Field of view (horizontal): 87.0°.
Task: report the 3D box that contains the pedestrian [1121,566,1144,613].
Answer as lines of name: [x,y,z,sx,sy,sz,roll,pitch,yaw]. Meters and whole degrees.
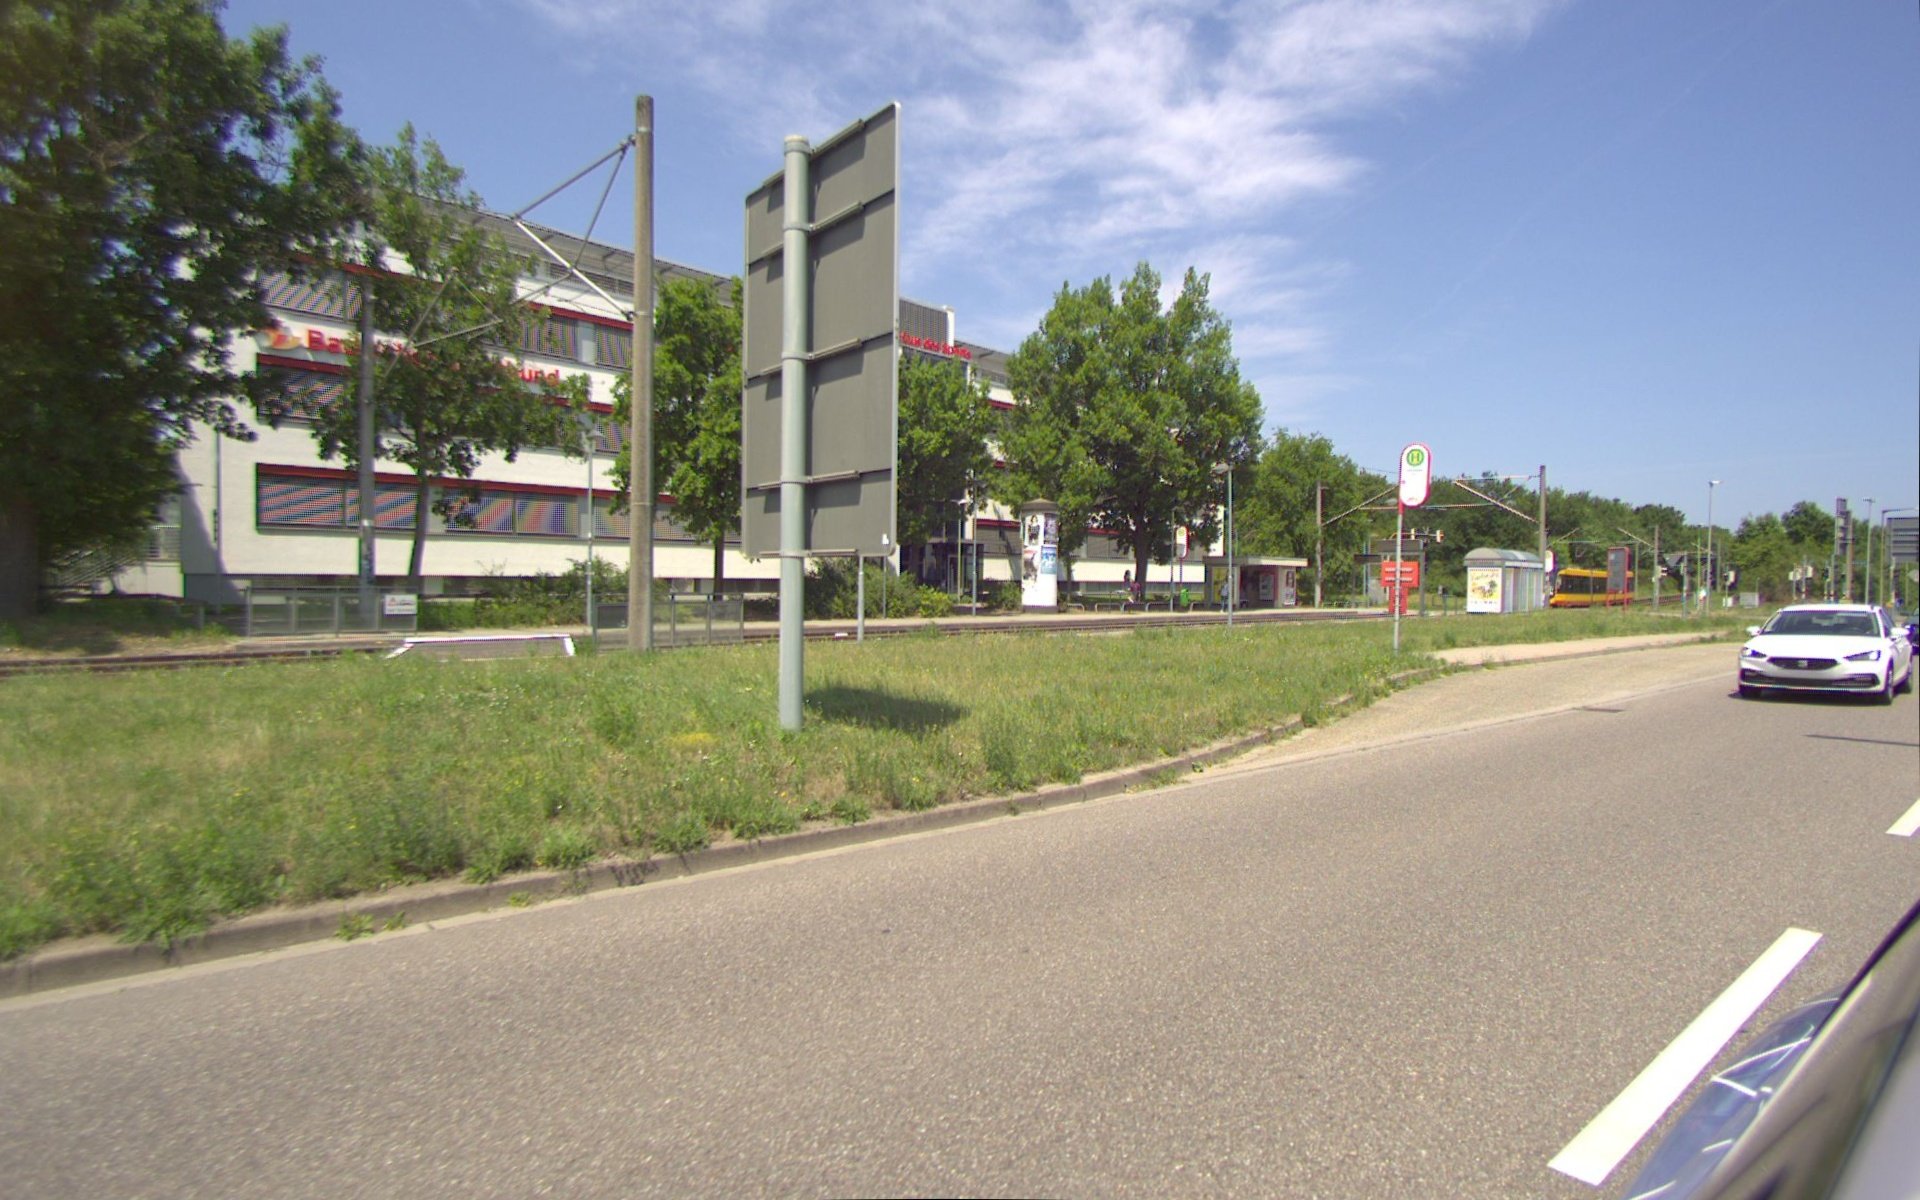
pedestrian: [6.964,-0.425,40.824,0.691,1.865,0.703,-1,0,34]

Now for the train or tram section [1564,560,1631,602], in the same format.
train or tram section: [59.074,-1.708,93.610,2.815,3.626,12.303,1,1,44]

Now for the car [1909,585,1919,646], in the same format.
car: [27.345,0.433,27.584,3.930,1.616,1.722,0,1,-41]

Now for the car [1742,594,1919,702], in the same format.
car: [14.041,0.658,16.088,4.373,1.406,1.686,0,3,-41]

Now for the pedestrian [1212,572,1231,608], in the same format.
pedestrian: [12.041,-0.459,46.600,0.678,1.628,0.553,-1,0,-40]

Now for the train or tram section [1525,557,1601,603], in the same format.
train or tram section: [50.559,-1.634,84.696,2.814,3.626,12.305,1,1,43]
